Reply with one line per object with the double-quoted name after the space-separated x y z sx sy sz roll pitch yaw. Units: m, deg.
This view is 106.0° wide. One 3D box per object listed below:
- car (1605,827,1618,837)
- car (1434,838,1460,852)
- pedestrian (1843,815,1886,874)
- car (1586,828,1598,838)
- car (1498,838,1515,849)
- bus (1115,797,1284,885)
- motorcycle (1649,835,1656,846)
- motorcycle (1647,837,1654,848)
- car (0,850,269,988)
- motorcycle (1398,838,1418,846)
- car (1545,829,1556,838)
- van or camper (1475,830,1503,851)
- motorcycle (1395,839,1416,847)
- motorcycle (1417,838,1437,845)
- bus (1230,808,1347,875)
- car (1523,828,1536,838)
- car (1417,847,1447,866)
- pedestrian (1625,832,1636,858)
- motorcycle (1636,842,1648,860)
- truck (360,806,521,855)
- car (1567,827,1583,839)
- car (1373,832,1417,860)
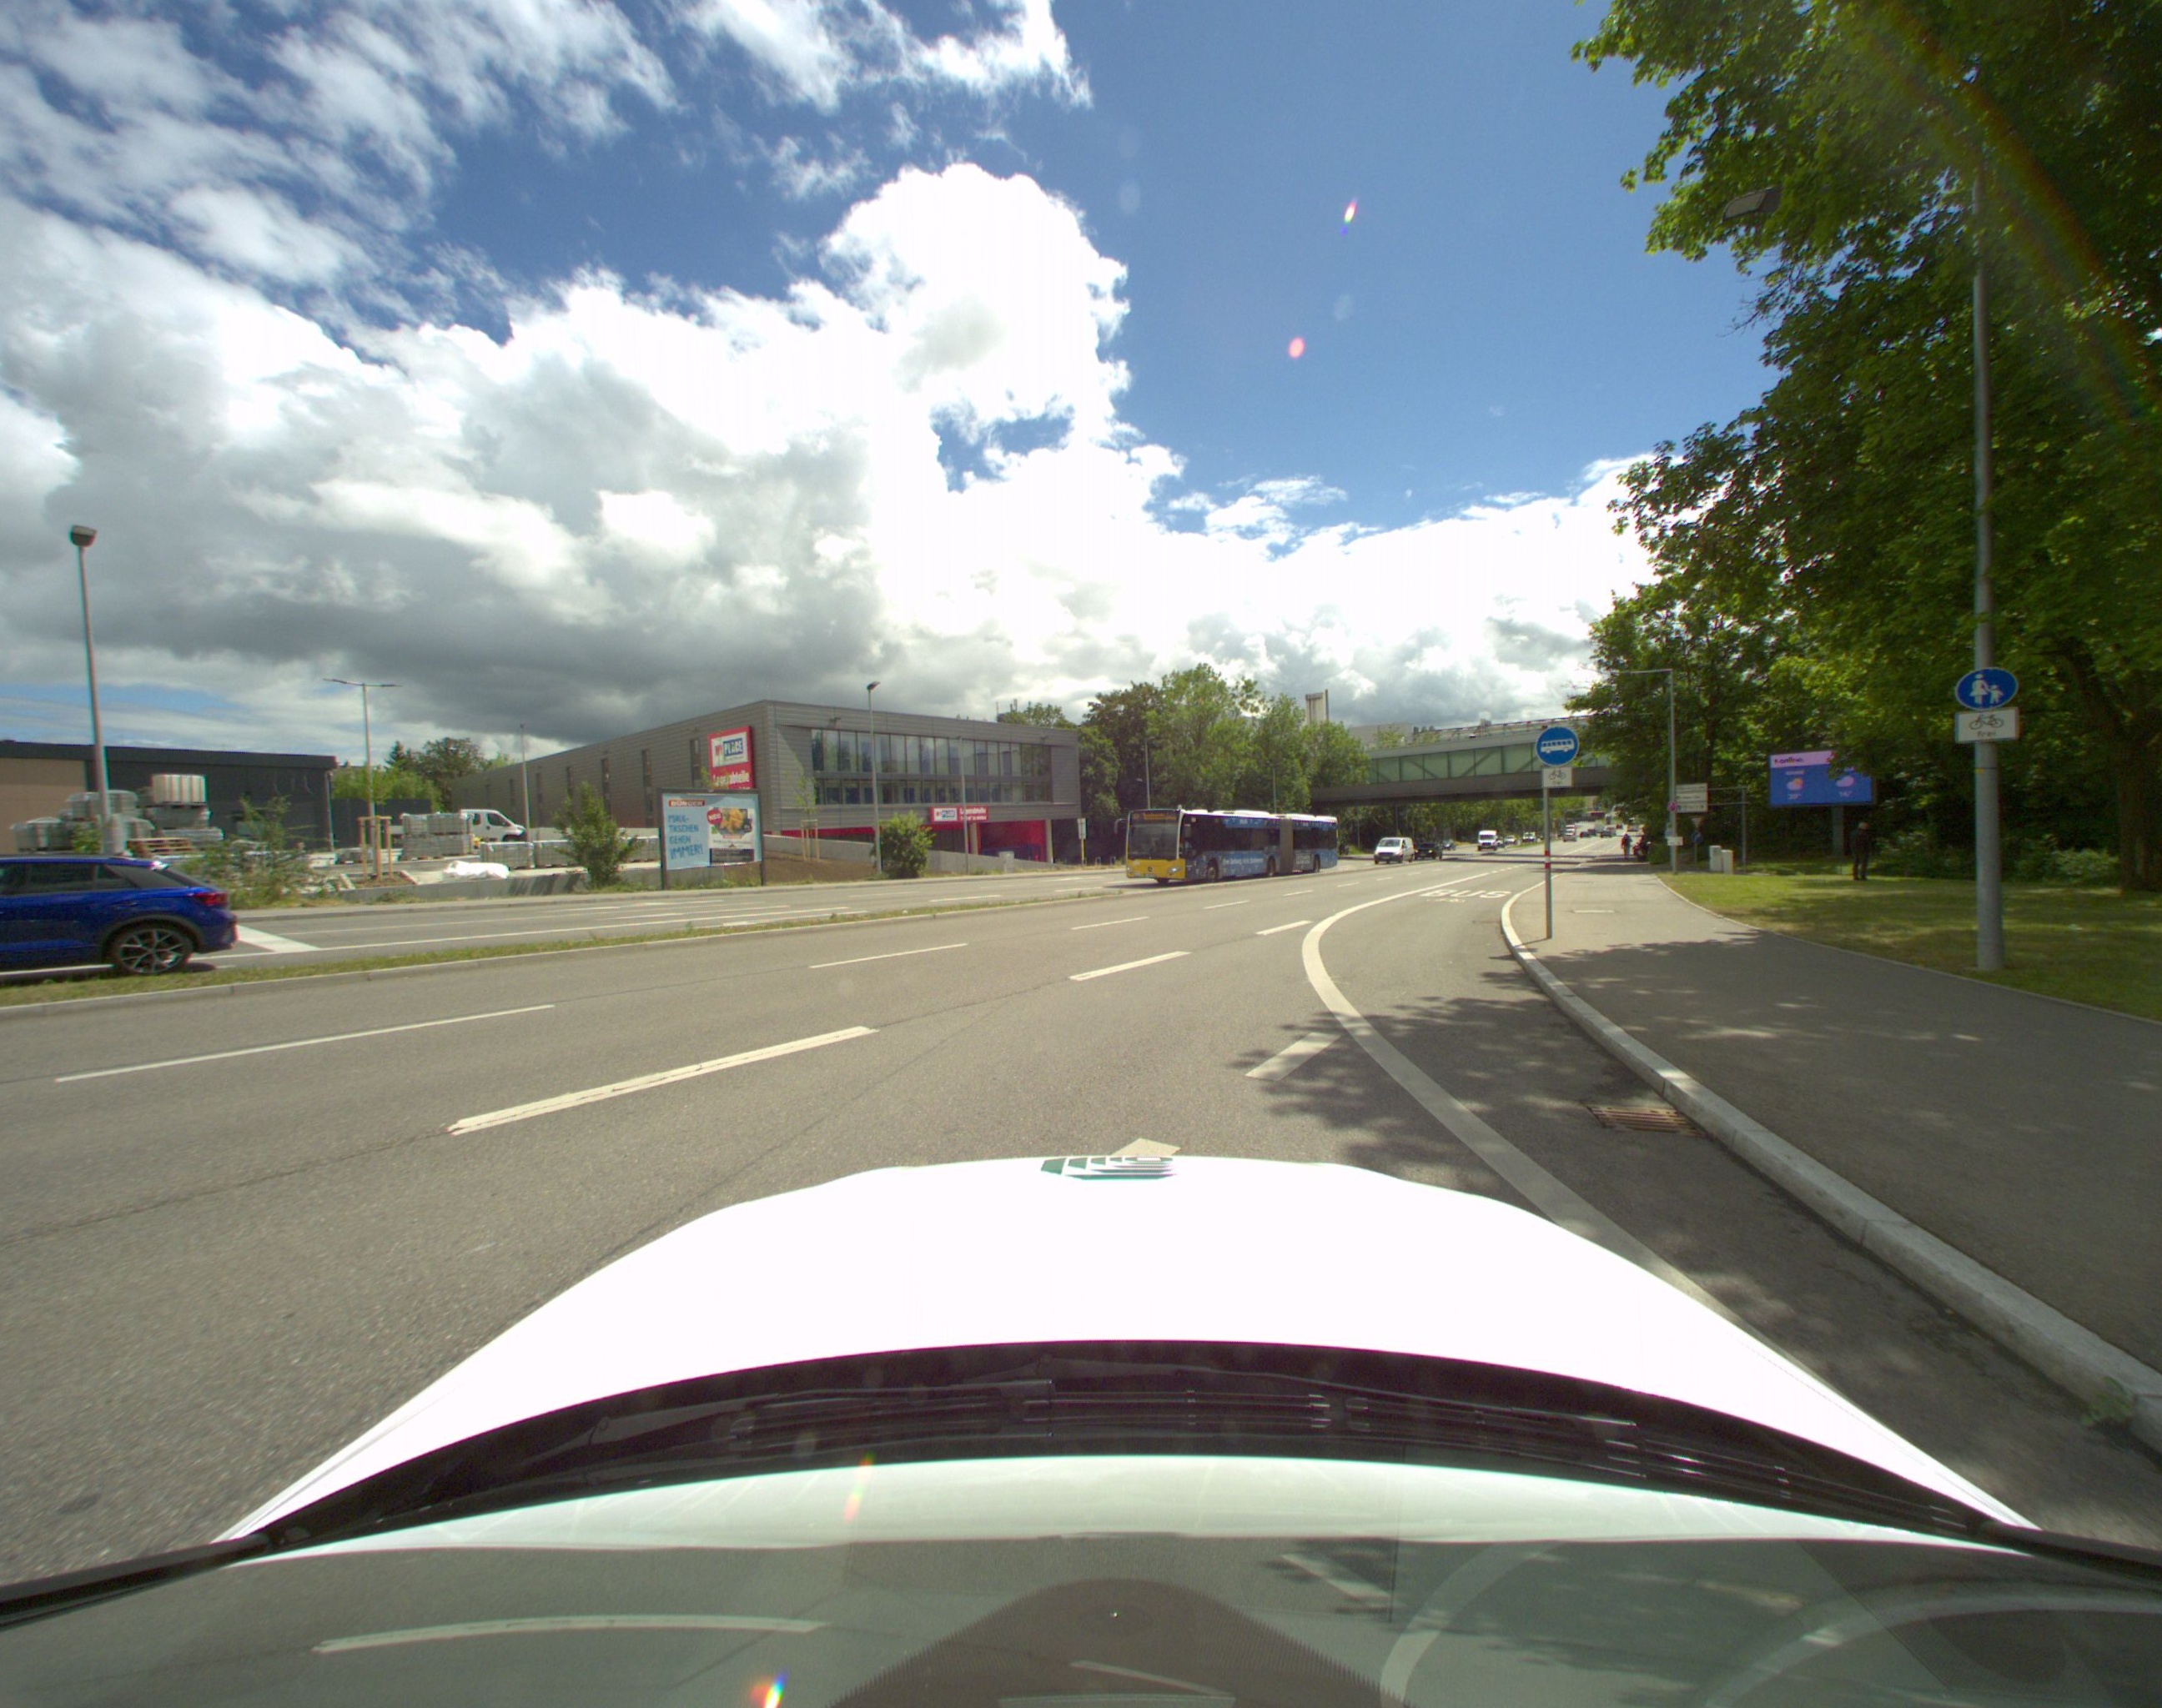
106.331 -4.360 163.245 1.974 1.859 4.026 -1 1 34 "car"
46.038 -1.104 102.343 1.974 1.750 4.025 -1 0 40 "car"
23.781 -0.287 24.730 0.585 1.717 0.776 -3 4 8 "pedestrian"
104.014 -4.244 165.715 1.839 1.705 4.028 -1 6 34 "car"
58.497 -1.420 111.889 1.684 1.521 3.094 0 1 35 "car"
5.451 -0.561 35.143 2.788 3.285 10.185 0 1 36 "bus"
56.879 -1.384 81.080 0.558 1.029 2.646 -2 1 34 "motorcycle"
59.470 -1.226 85.055 0.558 1.029 2.646 -2 1 34 "motorcycle"
-13.008 0.760 9.730 1.787 1.511 4.426 0 2 36 "car"
44.479 -1.579 110.835 2.528 1.050 0.678 0 1 42 "motorcycle"
92.949 -4.024 161.216 1.684 1.698 3.950 0 1 35 "car"
49.743 -1.666 99.111 1.988 2.401 6.440 -1 1 36 "van or camper"
43.681 -1.443 109.658 2.528 1.050 0.678 0 1 42 "motorcycle"
49.630 -1.792 116.916 0.799 1.107 2.554 -1 1 -42 "motorcycle"
11.108 -0.715 42.858 2.788 3.163 8.965 0 2 36 "bus"
76.259 -3.513 138.428 1.684 1.698 3.950 0 1 34 "car"
29.931 0.180 69.392 1.621 1.470 3.800 0 2 35 "car"
38.649 -0.638 57.303 0.617 1.858 0.878 -1 0 34 "pedestrian"
35.377 -0.195 51.388 0.542 1.110 2.031 -1 0 32 "motorcycle"
-34.665 -1.336 44.327 6.616 2.144 1.977 -7 5 -40 "truck"
84.429 -3.544 139.156 1.911 1.771 4.027 -1 5 36 "car"
22.790 -0.588 58.981 1.859 1.924 4.781 0 2 36 "car"
